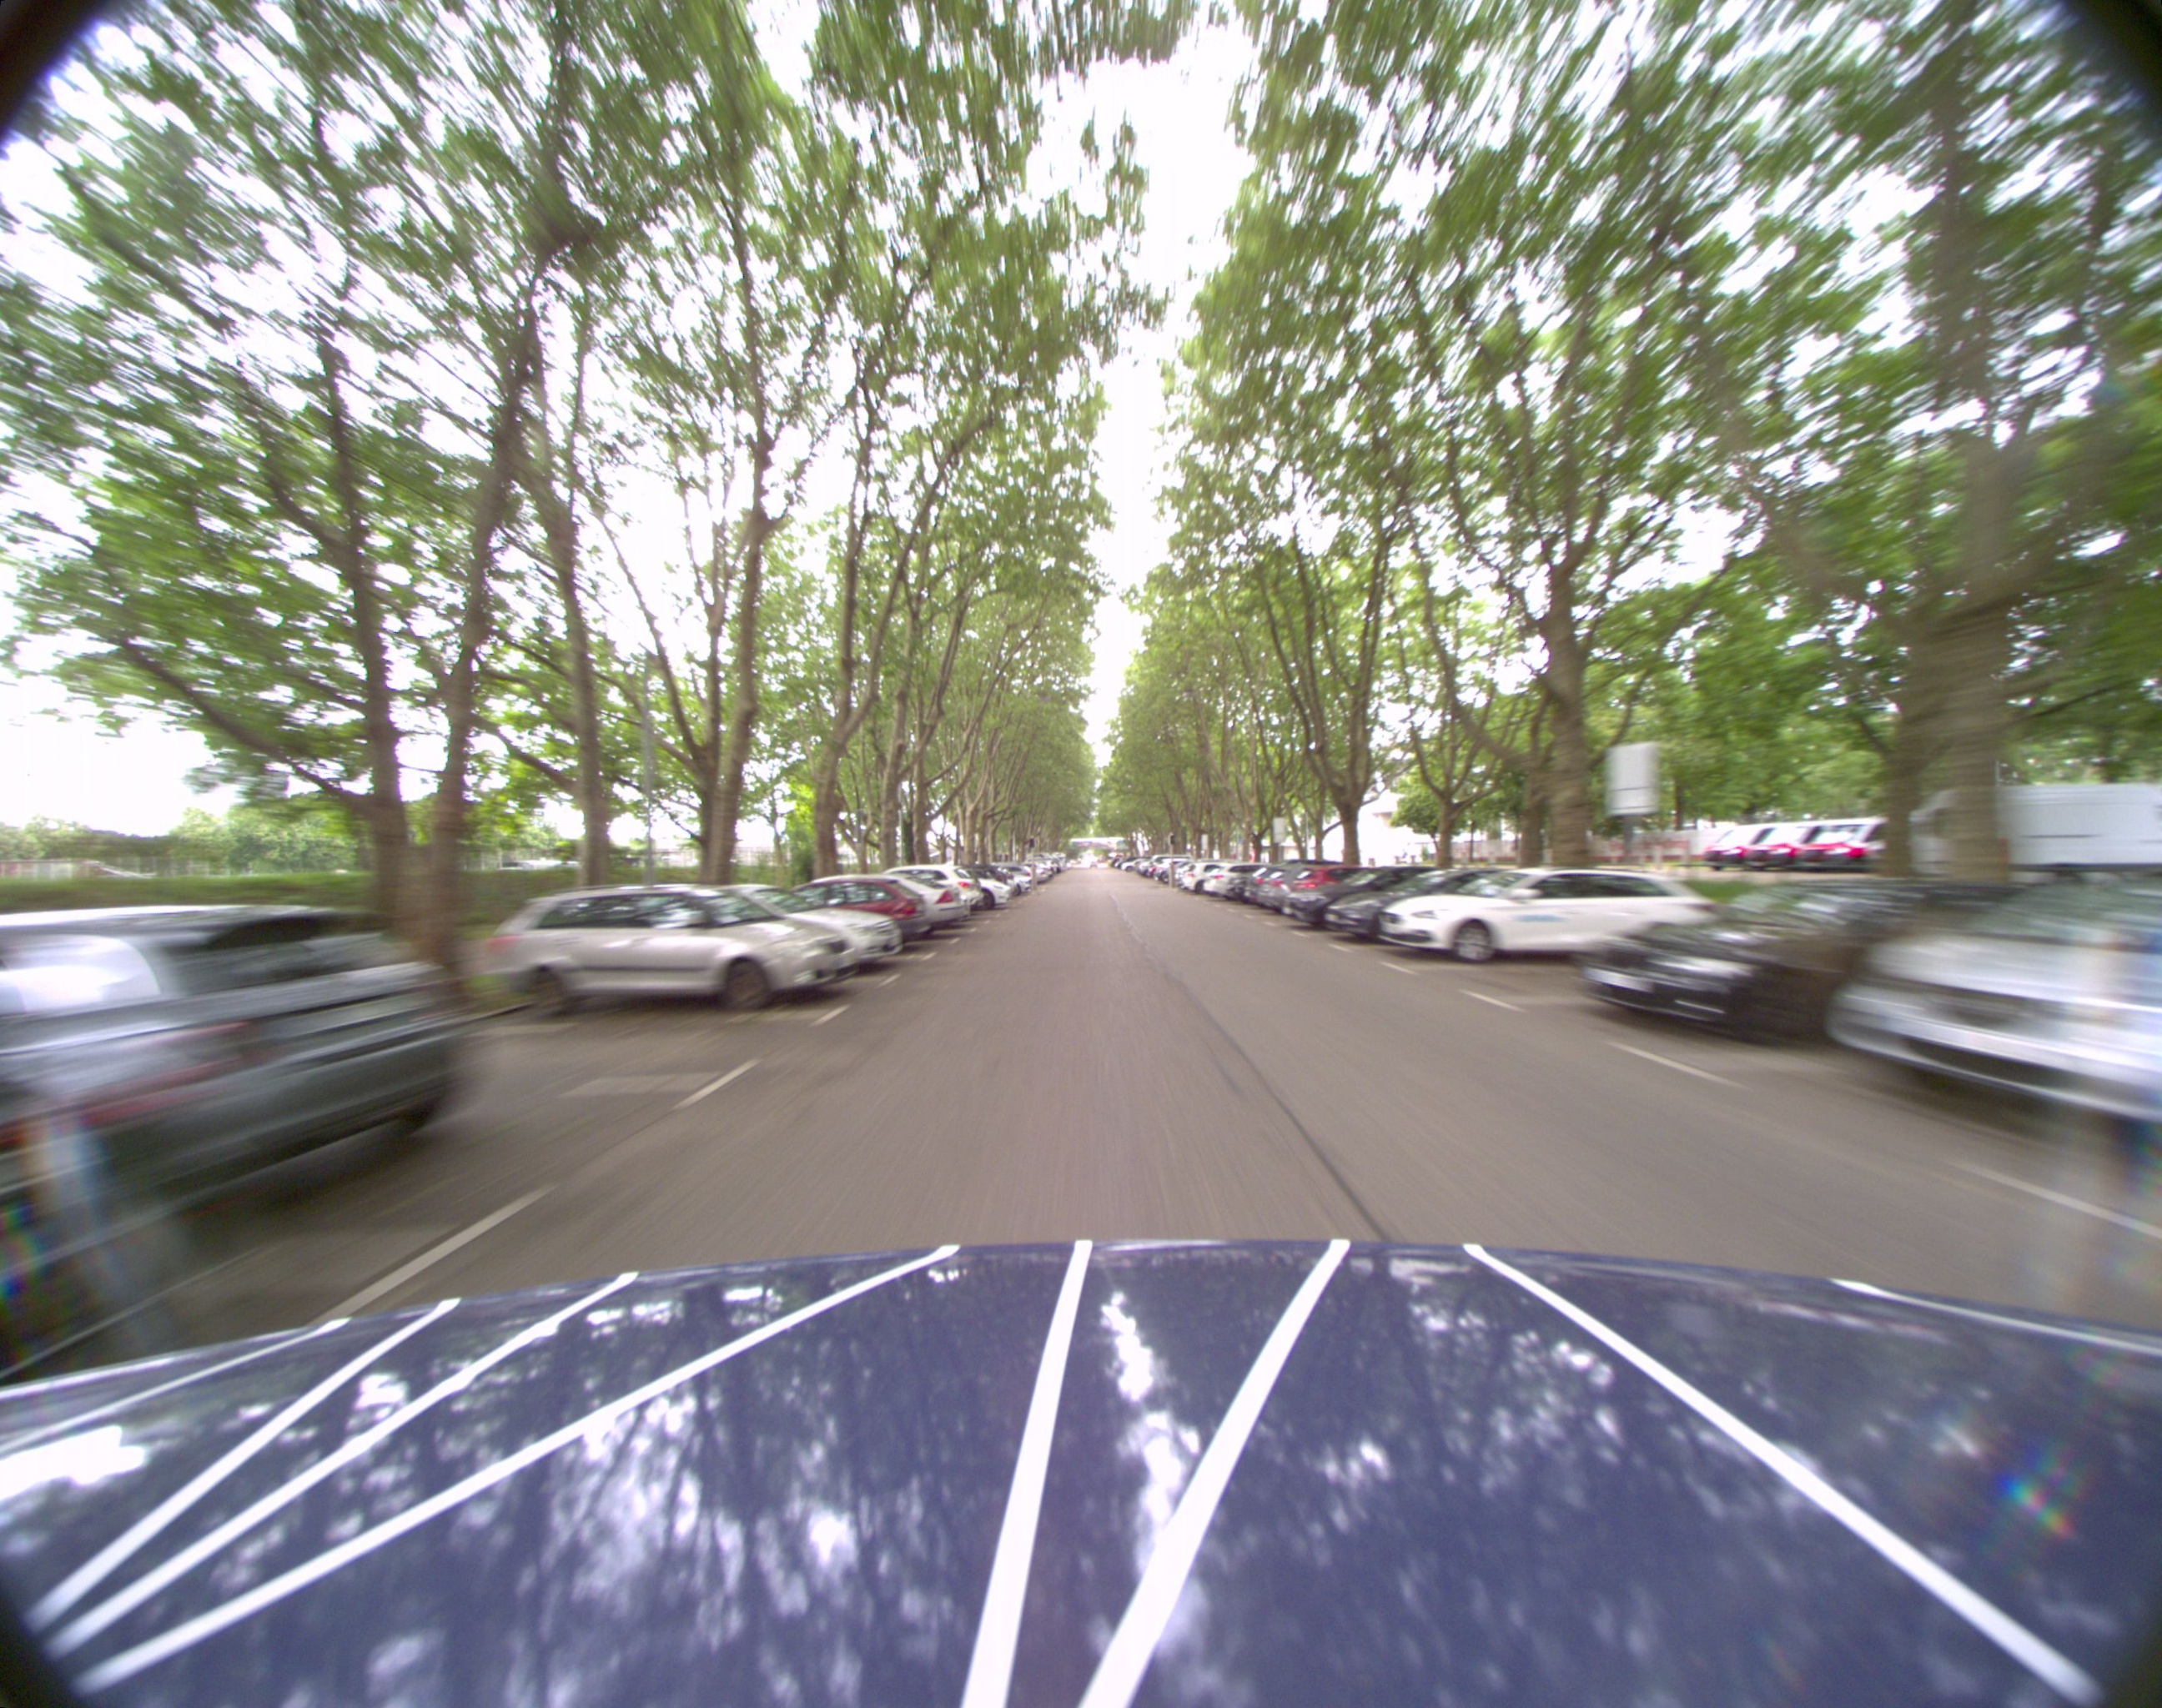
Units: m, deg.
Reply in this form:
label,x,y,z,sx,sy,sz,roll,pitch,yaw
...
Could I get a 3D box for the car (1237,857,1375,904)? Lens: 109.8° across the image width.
label,x,y,z,sx,sy,sz,roll,pitch,yaw
car,7.060,0.815,24.126,3.837,1.421,1.802,0,0,-1

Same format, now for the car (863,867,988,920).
label,x,y,z,sx,sy,sz,roll,pitch,yaw
car,-4.970,1.257,24.673,3.655,1.510,1.643,-2,0,0

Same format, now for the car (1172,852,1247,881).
label,x,y,z,sx,sy,sz,roll,pitch,yaw
car,7.421,0.708,44.053,4.054,1.599,1.694,0,1,-2

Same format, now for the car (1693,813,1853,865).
label,x,y,z,sx,sy,sz,roll,pitch,yaw
car,34.138,-0.709,37.615,6.017,2.239,2.000,-2,0,0

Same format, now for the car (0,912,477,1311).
label,x,y,z,sx,sy,sz,roll,pitch,yaw
car,-5.467,1.178,3.882,3.434,1.499,1.555,-2,0,-1

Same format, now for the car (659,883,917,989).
label,x,y,z,sx,sy,sz,roll,pitch,yaw
car,-4.521,1.259,11.905,3.431,1.415,1.520,-3,0,11

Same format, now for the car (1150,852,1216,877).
label,x,y,z,sx,sy,sz,roll,pitch,yaw
car,6.572,0.677,49.200,4.077,1.598,1.800,0,0,3

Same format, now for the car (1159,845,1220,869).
label,x,y,z,sx,sy,sz,roll,pitch,yaw
car,7.334,0.192,51.755,3.837,1.618,1.952,0,0,-2

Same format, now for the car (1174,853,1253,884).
label,x,y,z,sx,sy,sz,roll,pitch,yaw
car,6.891,0.742,39.773,3.837,1.598,1.694,0,0,-2

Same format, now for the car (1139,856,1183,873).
label,x,y,z,sx,sy,sz,roll,pitch,yaw
car,8.222,1.054,78.442,4.352,1.658,2.000,1,0,-1

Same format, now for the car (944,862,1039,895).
label,x,y,z,sx,sy,sz,roll,pitch,yaw
car,-4.640,1.269,39.669,4.625,1.461,1.650,-3,0,3

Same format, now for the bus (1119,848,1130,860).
label,x,y,z,sx,sy,sz,roll,pitch,yaw
bus,11.794,0.099,207.762,2.658,3.136,12.370,1,0,2

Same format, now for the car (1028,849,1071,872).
label,x,y,z,sx,sy,sz,roll,pitch,yaw
car,-3.957,0.854,96.672,5.241,2.673,1.957,-3,0,1

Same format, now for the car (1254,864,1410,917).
label,x,y,z,sx,sy,sz,roll,pitch,yaw
car,6.999,0.990,21.437,3.837,1.421,1.694,0,0,-2

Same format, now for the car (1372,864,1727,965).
label,x,y,z,sx,sy,sz,roll,pitch,yaw
car,7.040,0.872,11.774,4.411,1.421,1.695,0,0,3

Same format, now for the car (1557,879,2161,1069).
label,x,y,z,sx,sy,sz,roll,pitch,yaw
car,6.932,0.955,6.795,4.345,1.421,1.694,0,0,-2

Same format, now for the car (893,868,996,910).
label,x,y,z,sx,sy,sz,roll,pitch,yaw
car,-5.183,1.314,29.117,3.655,1.363,1.519,-2,0,-3

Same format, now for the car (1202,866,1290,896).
label,x,y,z,sx,sy,sz,roll,pitch,yaw
car,6.874,1.128,31.866,3.325,1.195,1.584,0,0,-3

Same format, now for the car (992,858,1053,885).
label,x,y,z,sx,sy,sz,roll,pitch,yaw
car,-4.119,1.233,54.055,4.123,1.660,1.694,-2,0,1

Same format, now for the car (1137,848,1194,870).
label,x,y,z,sx,sy,sz,roll,pitch,yaw
car,7.639,0.450,68.829,4.907,2.007,1.919,0,0,-3

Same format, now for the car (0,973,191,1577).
label,x,y,z,sx,sy,sz,roll,pitch,yaw
car,-4.679,1.161,1.490,3.928,1.443,1.555,-2,0,-1

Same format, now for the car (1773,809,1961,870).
label,x,y,z,sx,sy,sz,roll,pitch,yaw
car,33.922,-0.606,32.920,6.017,2.304,2.000,-2,0,0

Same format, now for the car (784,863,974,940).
label,x,y,z,sx,sy,sz,roll,pitch,yaw
car,-4.324,1.002,16.758,3.655,1.415,1.985,-2,0,-3

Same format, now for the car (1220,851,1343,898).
label,x,y,z,sx,sy,sz,roll,pitch,yaw
car,7.028,0.706,26.924,3.838,1.599,1.858,0,0,-3

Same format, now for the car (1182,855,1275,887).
label,x,y,z,sx,sy,sz,roll,pitch,yaw
car,6.589,0.764,34.204,3.837,1.421,1.694,0,0,-2

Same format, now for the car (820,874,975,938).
label,x,y,z,sx,sy,sz,roll,pitch,yaw
car,-4.720,1.316,19.857,3.655,1.401,1.519,-2,0,-3

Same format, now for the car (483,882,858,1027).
label,x,y,z,sx,sy,sz,roll,pitch,yaw
car,-4.818,1.156,9.224,3.687,1.415,1.519,-2,0,2

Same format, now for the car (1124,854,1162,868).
label,x,y,z,sx,sy,sz,roll,pitch,yaw
car,7.452,0.823,92.134,4.391,1.587,2.000,0,0,-1

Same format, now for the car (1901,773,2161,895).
label,x,y,z,sx,sy,sz,roll,pitch,yaw
car,23.486,-0.487,18.005,5.800,2.582,2.000,-2,0,1

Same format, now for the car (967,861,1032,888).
label,x,y,z,sx,sy,sz,roll,pitch,yaw
car,-5.014,1.243,47.149,3.785,1.461,1.667,-2,0,0

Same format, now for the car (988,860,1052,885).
label,x,y,z,sx,sy,sz,roll,pitch,yaw
car,-4.095,1.251,51.545,4.124,1.461,1.694,-2,0,0

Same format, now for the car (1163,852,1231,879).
label,x,y,z,sx,sy,sz,roll,pitch,yaw
car,7.027,0.669,46.229,3.837,1.598,1.834,0,0,-2

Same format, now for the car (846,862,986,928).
label,x,y,z,sx,sy,sz,roll,pitch,yaw
car,-4.646,1.148,21.787,3.655,1.657,1.519,-2,0,-3

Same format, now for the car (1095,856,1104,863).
label,x,y,z,sx,sy,sz,roll,pitch,yaw
car,3.789,1.143,153.775,1.693,1.462,3.839,0,0,-1

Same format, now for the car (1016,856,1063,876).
label,x,y,z,sx,sy,sz,roll,pitch,yaw
car,-4.050,1.214,74.742,4.394,1.745,1.801,-3,0,3

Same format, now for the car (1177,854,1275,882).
label,x,y,z,sx,sy,sz,roll,pitch,yaw
car,7.009,0.666,36.899,4.413,1.357,1.694,0,0,-2

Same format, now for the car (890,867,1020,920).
label,x,y,z,sx,sy,sz,roll,pitch,yaw
car,-4.270,1.335,26.307,4.178,1.587,1.854,-2,0,-3

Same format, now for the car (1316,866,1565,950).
label,x,y,z,sx,sy,sz,roll,pitch,yaw
car,6.561,0.963,14.141,3.837,1.421,1.694,0,1,-2

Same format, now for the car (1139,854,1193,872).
label,x,y,z,sx,sy,sz,roll,pitch,yaw
car,7.107,0.729,63.866,4.458,1.444,1.775,0,0,4

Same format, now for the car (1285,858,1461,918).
label,x,y,z,sx,sy,sz,roll,pitch,yaw
car,7.241,0.816,19.157,3.835,1.421,1.695,0,0,5

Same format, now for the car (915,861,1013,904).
label,x,y,z,sx,sy,sz,roll,pitch,yaw
car,-4.814,1.153,31.671,3.786,1.588,1.820,-2,0,-3

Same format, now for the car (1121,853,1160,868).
label,x,y,z,sx,sy,sz,roll,pitch,yaw
car,8.670,0.891,110.407,5.450,2.115,1.940,0,-1,-1

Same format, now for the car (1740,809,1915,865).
label,x,y,z,sx,sy,sz,roll,pitch,yaw
car,34.227,-0.774,34.959,6.017,2.239,2.000,-2,0,0

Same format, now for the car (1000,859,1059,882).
label,x,y,z,sx,sy,sz,roll,pitch,yaw
car,-3.812,1.207,56.298,4.222,1.443,1.610,-2,0,-1

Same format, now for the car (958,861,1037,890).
label,x,y,z,sx,sy,sz,roll,pitch,yaw
car,-4.794,1.223,43.996,4.377,1.461,1.624,-2,0,0

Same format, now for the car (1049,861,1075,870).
label,x,y,z,sx,sy,sz,roll,pitch,yaw
car,-3.251,1.961,131.534,4.330,1.294,1.700,-2,0,1

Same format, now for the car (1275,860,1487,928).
label,x,y,z,sx,sy,sz,roll,pitch,yaw
car,6.555,0.858,16.849,4.032,1.421,1.694,0,0,-2

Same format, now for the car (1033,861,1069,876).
label,x,y,z,sx,sy,sz,roll,pitch,yaw
car,-3.624,1.725,91.514,4.129,1.420,1.703,-4,0,2

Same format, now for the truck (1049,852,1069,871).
label,x,y,z,sx,sy,sz,roll,pitch,yaw
truck,-3.656,1.203,124.625,2.466,2.920,7.533,-2,0,-8

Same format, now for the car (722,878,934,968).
label,x,y,z,sx,sy,sz,roll,pitch,yaw
car,-4.625,1.244,14.250,3.434,1.415,1.519,-2,0,-3

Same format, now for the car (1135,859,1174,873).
label,x,y,z,sx,sy,sz,roll,pitch,yaw
car,7.809,1.265,80.896,3.997,1.467,1.842,1,0,-2

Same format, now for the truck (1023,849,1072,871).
label,x,y,z,sx,sy,sz,roll,pitch,yaw
truck,-4.475,0.779,101.969,6.309,2.699,2.098,-2,0,2

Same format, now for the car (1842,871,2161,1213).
label,x,y,z,sx,sy,sz,roll,pitch,yaw
car,6.873,0.884,4.144,3.837,1.545,1.694,0,0,-2

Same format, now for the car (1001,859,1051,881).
label,x,y,z,sx,sy,sz,roll,pitch,yaw
car,-4.413,1.319,61.568,3.837,1.598,1.694,-2,0,-1

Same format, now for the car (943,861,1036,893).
label,x,y,z,sx,sy,sz,roll,pitch,yaw
car,-4.315,1.097,36.254,4.309,1.461,1.623,0,0,-3

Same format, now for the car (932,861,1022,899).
label,x,y,z,sx,sy,sz,roll,pitch,yaw
car,-4.585,1.142,33.997,3.786,1.461,1.623,-2,0,-3

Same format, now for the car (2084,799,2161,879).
label,x,y,z,sx,sy,sz,roll,pitch,yaw
car,34.448,-0.569,22.791,6.017,2.316,2.000,-2,0,0

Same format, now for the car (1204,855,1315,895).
label,x,y,z,sx,sy,sz,roll,pitch,yaw
car,6.805,0.773,29.183,3.837,1.488,1.694,0,0,-2
